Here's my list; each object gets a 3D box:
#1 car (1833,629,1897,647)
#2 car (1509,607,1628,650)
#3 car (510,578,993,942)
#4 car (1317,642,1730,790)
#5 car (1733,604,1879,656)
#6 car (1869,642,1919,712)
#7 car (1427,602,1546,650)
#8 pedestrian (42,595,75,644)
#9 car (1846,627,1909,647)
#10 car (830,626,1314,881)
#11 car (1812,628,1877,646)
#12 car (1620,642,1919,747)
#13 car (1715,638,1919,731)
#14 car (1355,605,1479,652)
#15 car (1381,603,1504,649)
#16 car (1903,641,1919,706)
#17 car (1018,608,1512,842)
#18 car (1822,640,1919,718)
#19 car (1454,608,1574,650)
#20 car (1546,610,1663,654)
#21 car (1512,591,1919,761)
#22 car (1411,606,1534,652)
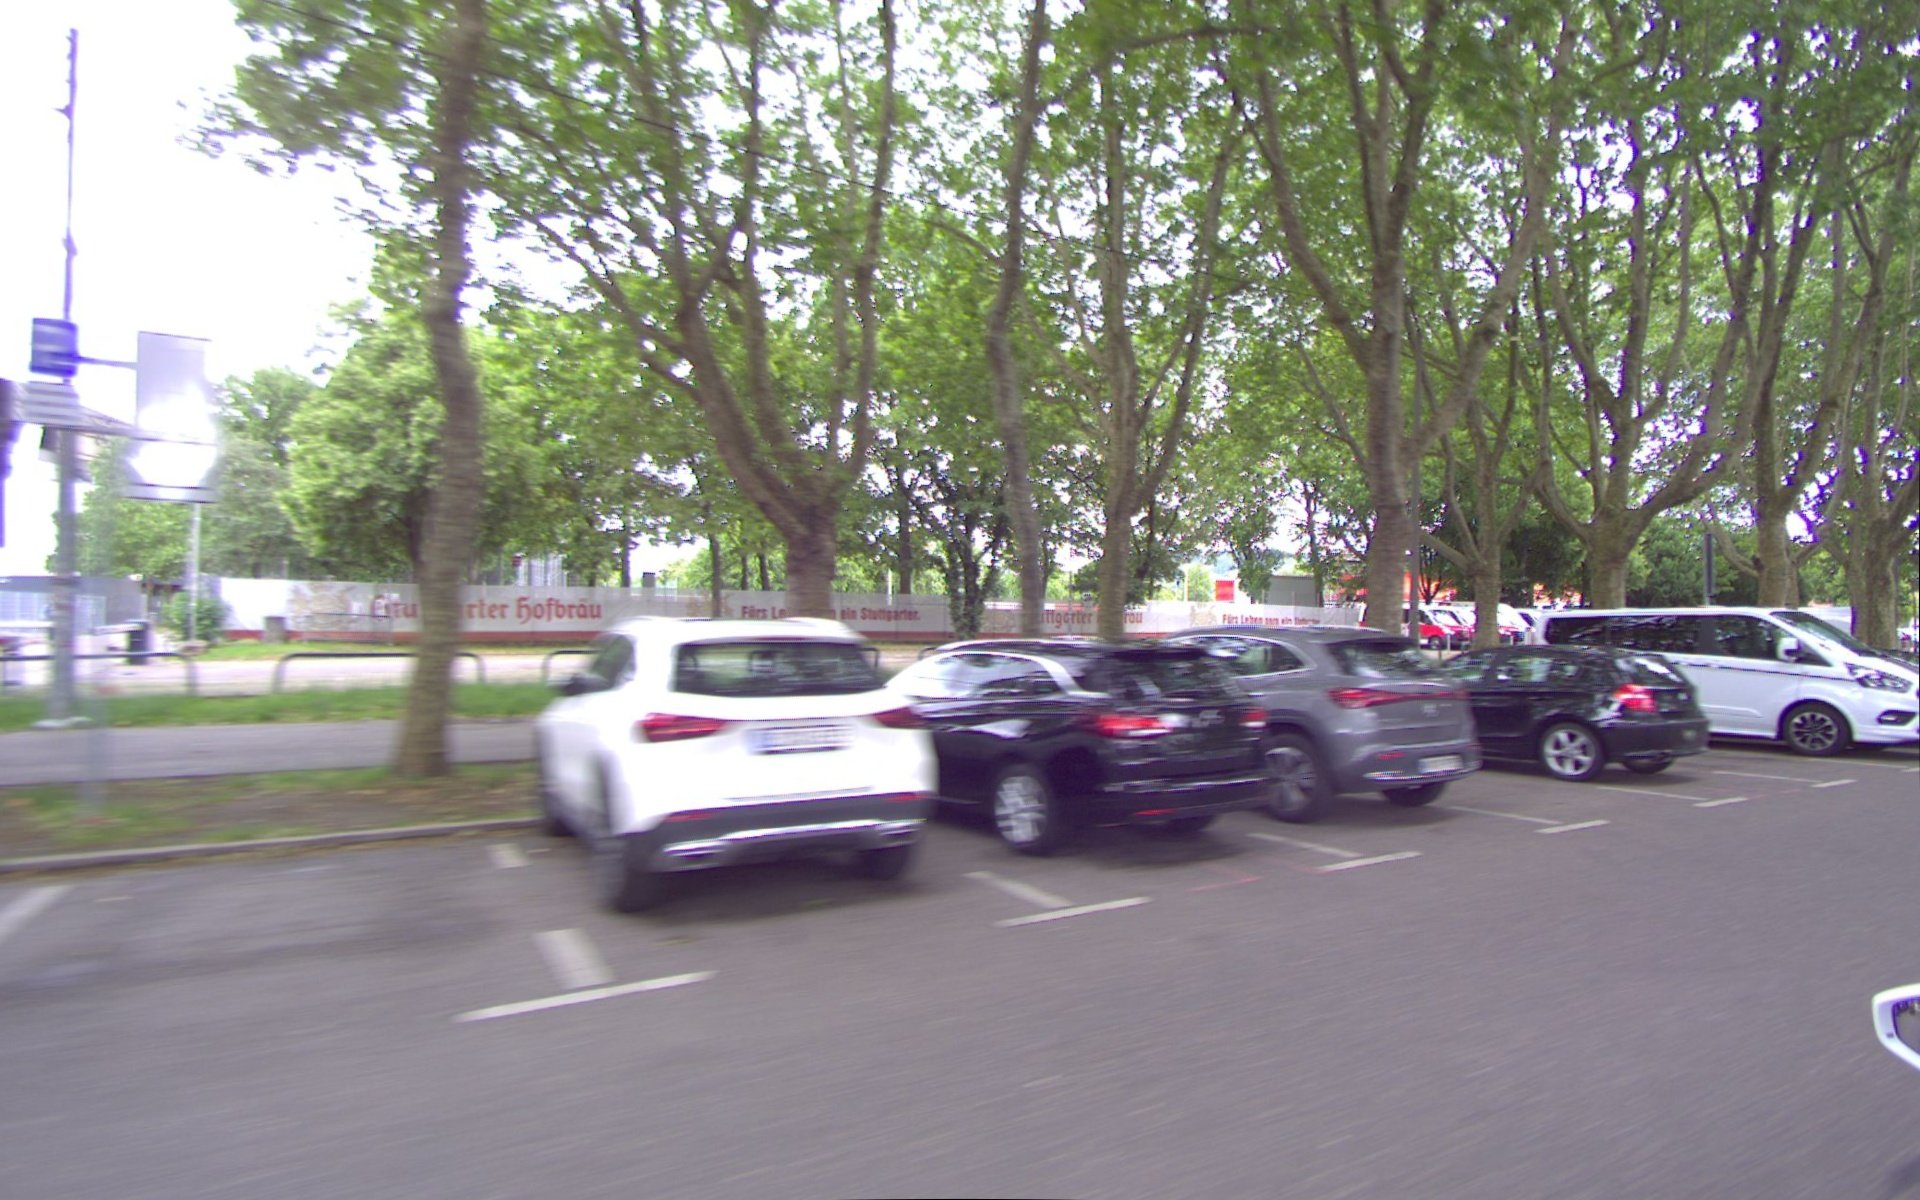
[{"bbox_3d":[76.382,3.186,84.782,1.519,1.367,3.734,1,0,-32],"label":"car"},{"bbox_3d":[36.865,1.669,61.056,1.977,2.361,5.972,1,0,-30],"label":"car"},{"bbox_3d":[-1.780,0.872,7.059,1.978,1.689,4.318,1,-4,-32],"label":"car"},{"bbox_3d":[6.451,1.255,11.953,1.664,1.431,3.966,1,-4,-32],"label":"car"},{"bbox_3d":[45.939,1.581,54.718,1.976,2.632,5.760,1,0,-29],"label":"car"},{"bbox_3d":[21.768,1.615,20.975,1.843,1.493,3.737,1,-3,-31],"label":"car"},{"bbox_3d":[30.360,1.431,58.183,1.977,2.560,5.972,1,0,-30],"label":"car"},{"bbox_3d":[-32.501,0.712,36.214,0.756,1.747,0.655,1,0,-31],"label":"pedestrian"},{"bbox_3d":[79.219,3.195,86.743,1.519,1.611,3.734,1,0,-32],"label":"car"},{"bbox_3d":[0.610,1.019,8.099,1.822,1.495,3.966,1,-4,-32],"label":"car"},{"bbox_3d":[73.262,3.065,83.242,1.518,1.367,3.735,1,0,-31],"label":"car"},{"bbox_3d":[13.317,1.406,15.947,1.754,1.471,4.427,1,-3,-31],"label":"car"},{"bbox_3d":[15.574,1.372,16.768,1.751,1.471,4.435,1,-3,-25],"label":"car"},{"bbox_3d":[24.285,1.448,53.660,1.977,2.282,5.972,1,0,-30],"label":"car"},{"bbox_3d":[26.227,1.386,54.884,1.977,2.282,5.972,1,0,-30],"label":"car"},{"bbox_3d":[23.586,1.641,22.127,1.676,1.490,3.806,1,-3,-33],"label":"car"},{"bbox_3d":[2.609,1.037,9.666,1.978,1.689,4.318,1,-4,-32],"label":"car"},{"bbox_3d":[19.377,1.517,19.316,1.520,1.490,3.973,1,-3,-33],"label":"car"},{"bbox_3d":[32.499,1.676,59.149,1.977,2.270,5.972,1,0,-30],"label":"car"},{"bbox_3d":[40.838,1.965,63.844,1.977,2.560,5.972,1,0,-30],"label":"car"},{"bbox_3d":[11.012,1.029,14.676,1.897,2.045,4.870,1,-3,-31],"label":"car"},{"bbox_3d":[28.534,1.553,56.156,1.977,2.349,5.972,1,0,-30],"label":"car"}]
